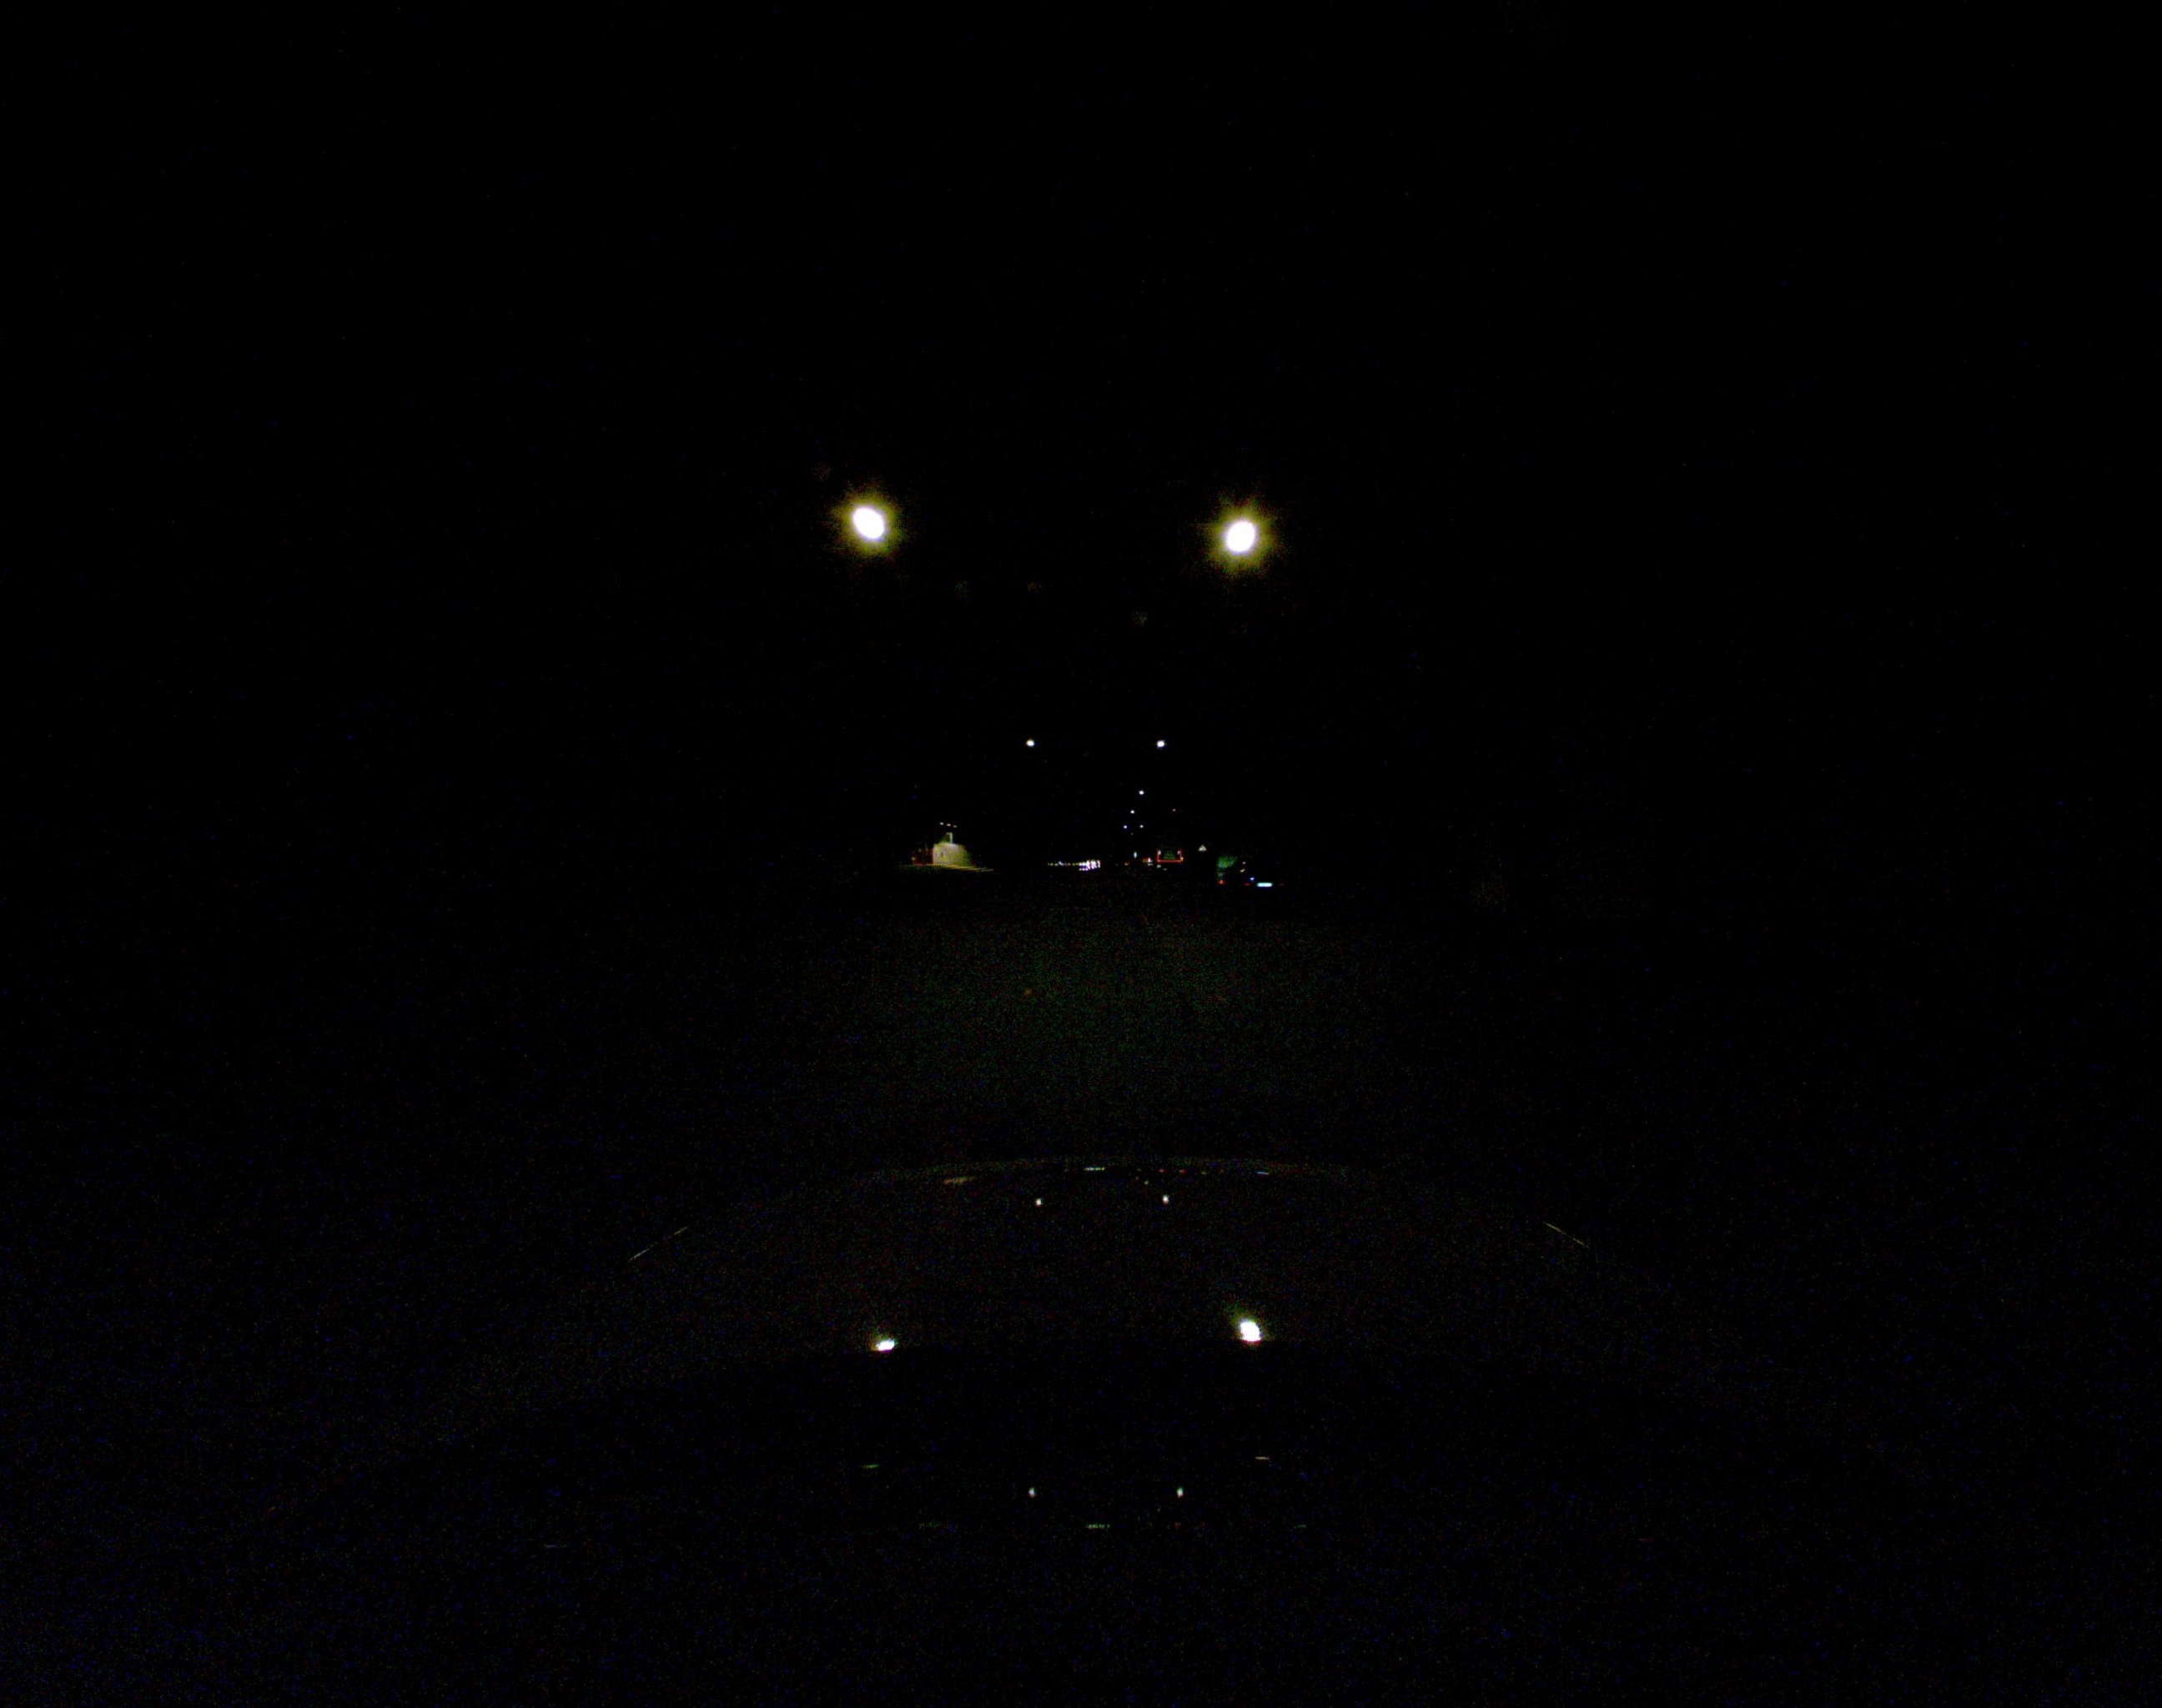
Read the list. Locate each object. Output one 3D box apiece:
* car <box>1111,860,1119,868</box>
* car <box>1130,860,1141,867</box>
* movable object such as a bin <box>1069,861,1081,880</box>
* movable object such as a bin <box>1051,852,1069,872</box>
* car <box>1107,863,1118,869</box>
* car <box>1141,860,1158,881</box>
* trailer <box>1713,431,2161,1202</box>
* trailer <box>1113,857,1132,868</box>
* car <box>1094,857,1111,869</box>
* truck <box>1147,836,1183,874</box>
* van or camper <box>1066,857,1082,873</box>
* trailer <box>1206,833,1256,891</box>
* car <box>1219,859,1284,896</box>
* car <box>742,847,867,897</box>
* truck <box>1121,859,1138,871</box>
[{"bbox_3d":[7.462,2.300,179.898,1.713,1.661,4.002,0,-2,3],"label":"car"},{"bbox_3d":[13.916,2.483,208.166,1.707,1.821,4.017,0,-2,18],"label":"car"},{"bbox_3d":[-0.937,2.450,124.294,1.568,2.734,3.695,-3,0,-4],"label":"movable object such as a bin"},{"bbox_3d":[-2.716,1.012,104.667,1.553,2.467,2.822,-1,-1,-18],"label":"movable object such as a bin"},{"bbox_3d":[9.017,3.331,232.365,1.978,1.700,4.224,0,-2,17],"label":"car"},{"bbox_3d":[8.839,2.087,105.217,2.098,2.516,6.380,0,0,5],"label":"car"},{"bbox_3d":[5.849,-0.157,3.835,2.391,3.325,4.361,0,0,-1],"label":"trailer"},{"bbox_3d":[8.339,1.751,164.929,1.567,2.161,5.178,-1,-2,-25],"label":"trailer"},{"bbox_3d":[5.774,2.372,216.628,2.500,3.171,7.167,-3,-1,16],"label":"car"},{"bbox_3d":[8.932,0.141,87.418,3.311,3.868,9.332,0,-1,2],"label":"truck"},{"bbox_3d":[-1.340,2.241,161.957,2.508,3.094,7.452,-2,-1,4],"label":"van or camper"},{"bbox_3d":[7.138,0.371,39.025,1.984,2.651,4.006,0,0,5],"label":"trailer"},{"bbox_3d":[6.848,0.909,33.111,1.720,1.386,4.677,0,0,1],"label":"car"},{"bbox_3d":[-11.346,0.727,33.625,4.415,1.972,2.001,0,0,1],"label":"car"},{"bbox_3d":[14.713,3.241,246.500,1.975,3.404,9.031,0,0,26],"label":"truck"}]
